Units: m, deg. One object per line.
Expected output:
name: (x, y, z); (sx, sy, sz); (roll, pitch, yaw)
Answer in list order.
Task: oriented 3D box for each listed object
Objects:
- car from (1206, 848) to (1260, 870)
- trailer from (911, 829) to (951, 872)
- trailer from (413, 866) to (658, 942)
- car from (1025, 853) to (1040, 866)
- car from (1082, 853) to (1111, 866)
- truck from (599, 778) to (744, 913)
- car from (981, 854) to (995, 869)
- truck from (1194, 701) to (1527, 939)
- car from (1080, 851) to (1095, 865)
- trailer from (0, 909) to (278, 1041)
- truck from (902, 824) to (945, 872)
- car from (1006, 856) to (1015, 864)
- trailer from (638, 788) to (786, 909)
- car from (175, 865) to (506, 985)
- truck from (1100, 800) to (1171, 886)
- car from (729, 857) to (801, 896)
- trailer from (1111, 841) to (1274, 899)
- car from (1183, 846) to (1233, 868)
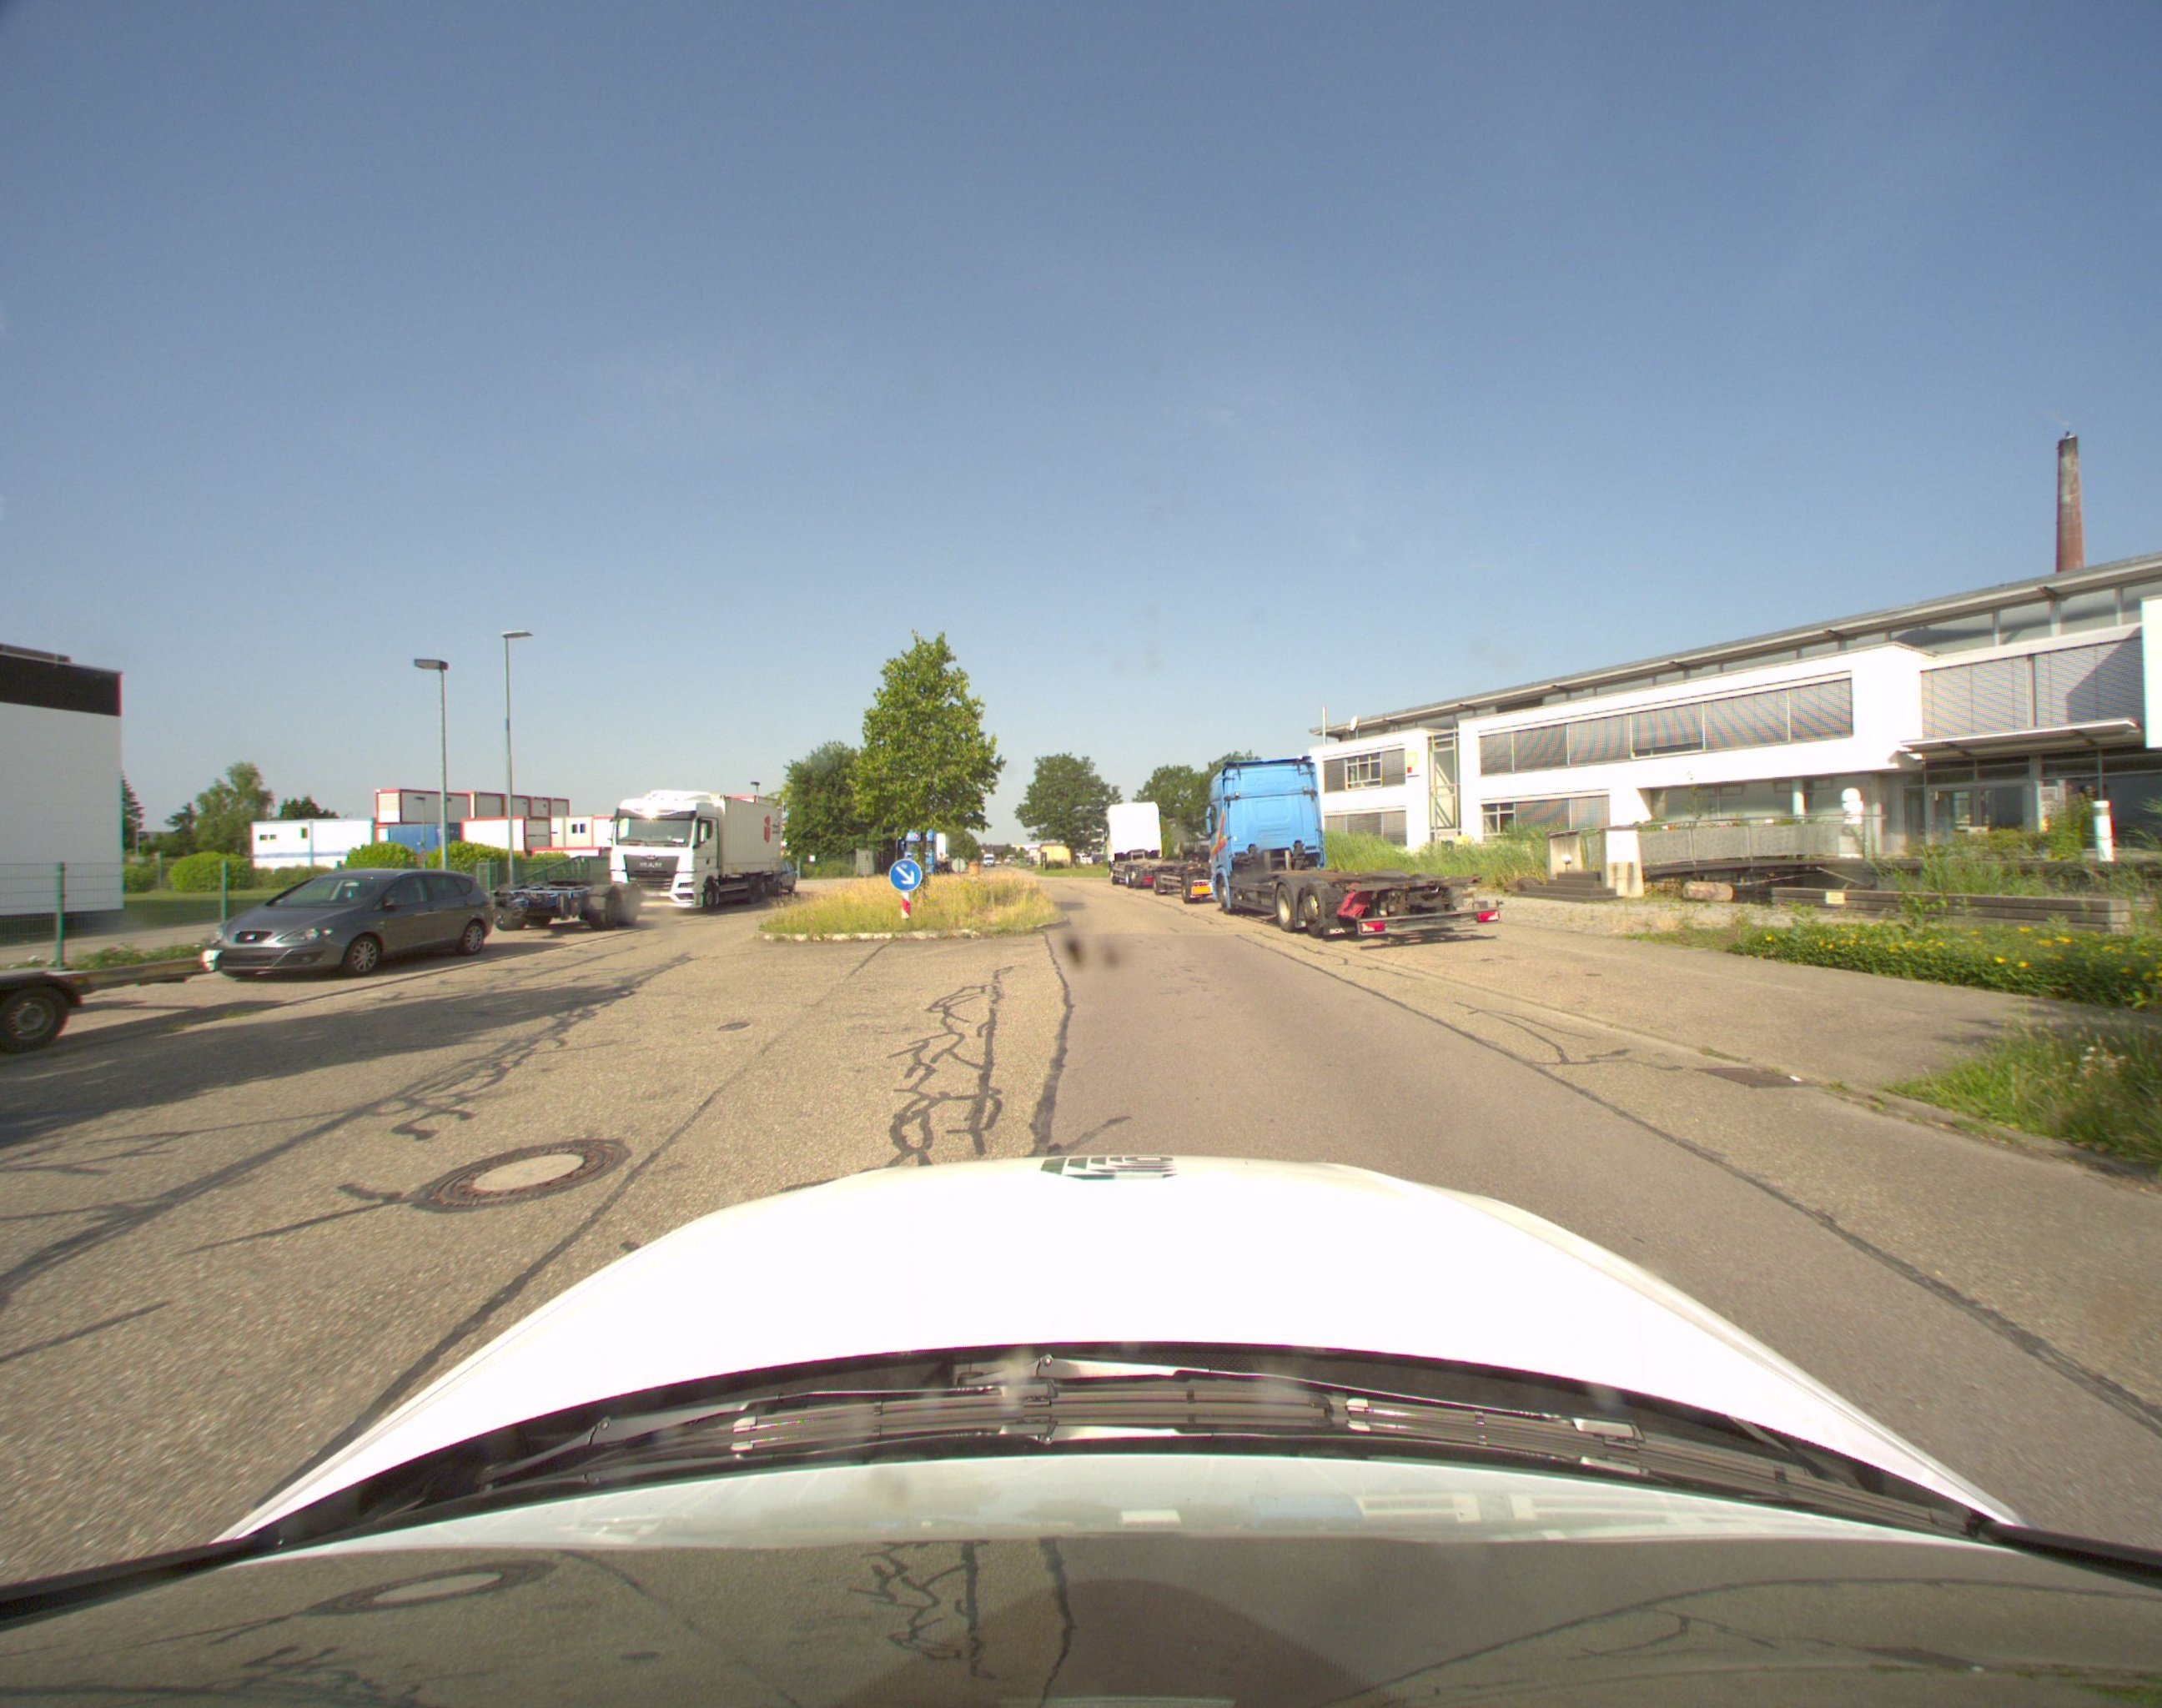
car: (12.492, 0.459, 66.859); (4.096, 1.701, 1.749); (1, -2, -27)
trailer: (-14.401, -0.207, 79.106); (2.827, 3.843, 12.009); (1, -1, -6)
trailer: (-12.587, 1.064, 19.381); (2.676, 1.453, 5.068); (0, 0, -5)
car: (-6.662, 0.751, 112.034); (1.790, 1.750, 3.990); (1, -1, -7)
car: (1.609, 0.599, 85.729); (1.675, 1.330, 3.636); (1, -2, -22)
truck: (-12.897, -0.196, 26.048); (2.706, 3.922, 4.286); (1, -2, -7)
car: (-18.213, 1.514, 159.149); (2.216, 2.686, 6.824); (1, -1, -12)
truck: (5.105, -0.466, 17.674); (2.884, 3.535, 9.736); (-5, -1, -5)
car: (0.851, 0.511, 104.440); (1.713, 1.618, 3.996); (1, -1, -3)
trailer: (-10.869, 1.170, 6.622); (2.544, 0.925, 6.693); (2, 0, -7)
truck: (-13.536, -0.397, 70.643); (2.822, 3.826, 9.651); (1, -1, -6)
car: (-18.405, 1.569, 212.078); (1.774, 1.815, 3.978); (1, -1, -15)
trailer: (-13.374, -0.100, 30.335); (2.696, 3.922, 7.557); (1, -1, -6)
car: (-11.655, 1.010, 13.318); (1.693, 1.561, 4.327); (1, 0, -6)
truck: (2.705, -0.537, 41.455); (2.742, 3.981, 3.992); (-4, 0, -6)
car: (-14.330, 0.987, 37.204); (1.992, 1.641, 4.575); (0, 0, -8)
trailer: (3.651, 0.520, 32.452); (2.742, 1.574, 16.139); (-3, 0, -5)
car: (10.869, 0.266, 69.698); (4.018, 1.767, 1.978); (2, -2, -37)
